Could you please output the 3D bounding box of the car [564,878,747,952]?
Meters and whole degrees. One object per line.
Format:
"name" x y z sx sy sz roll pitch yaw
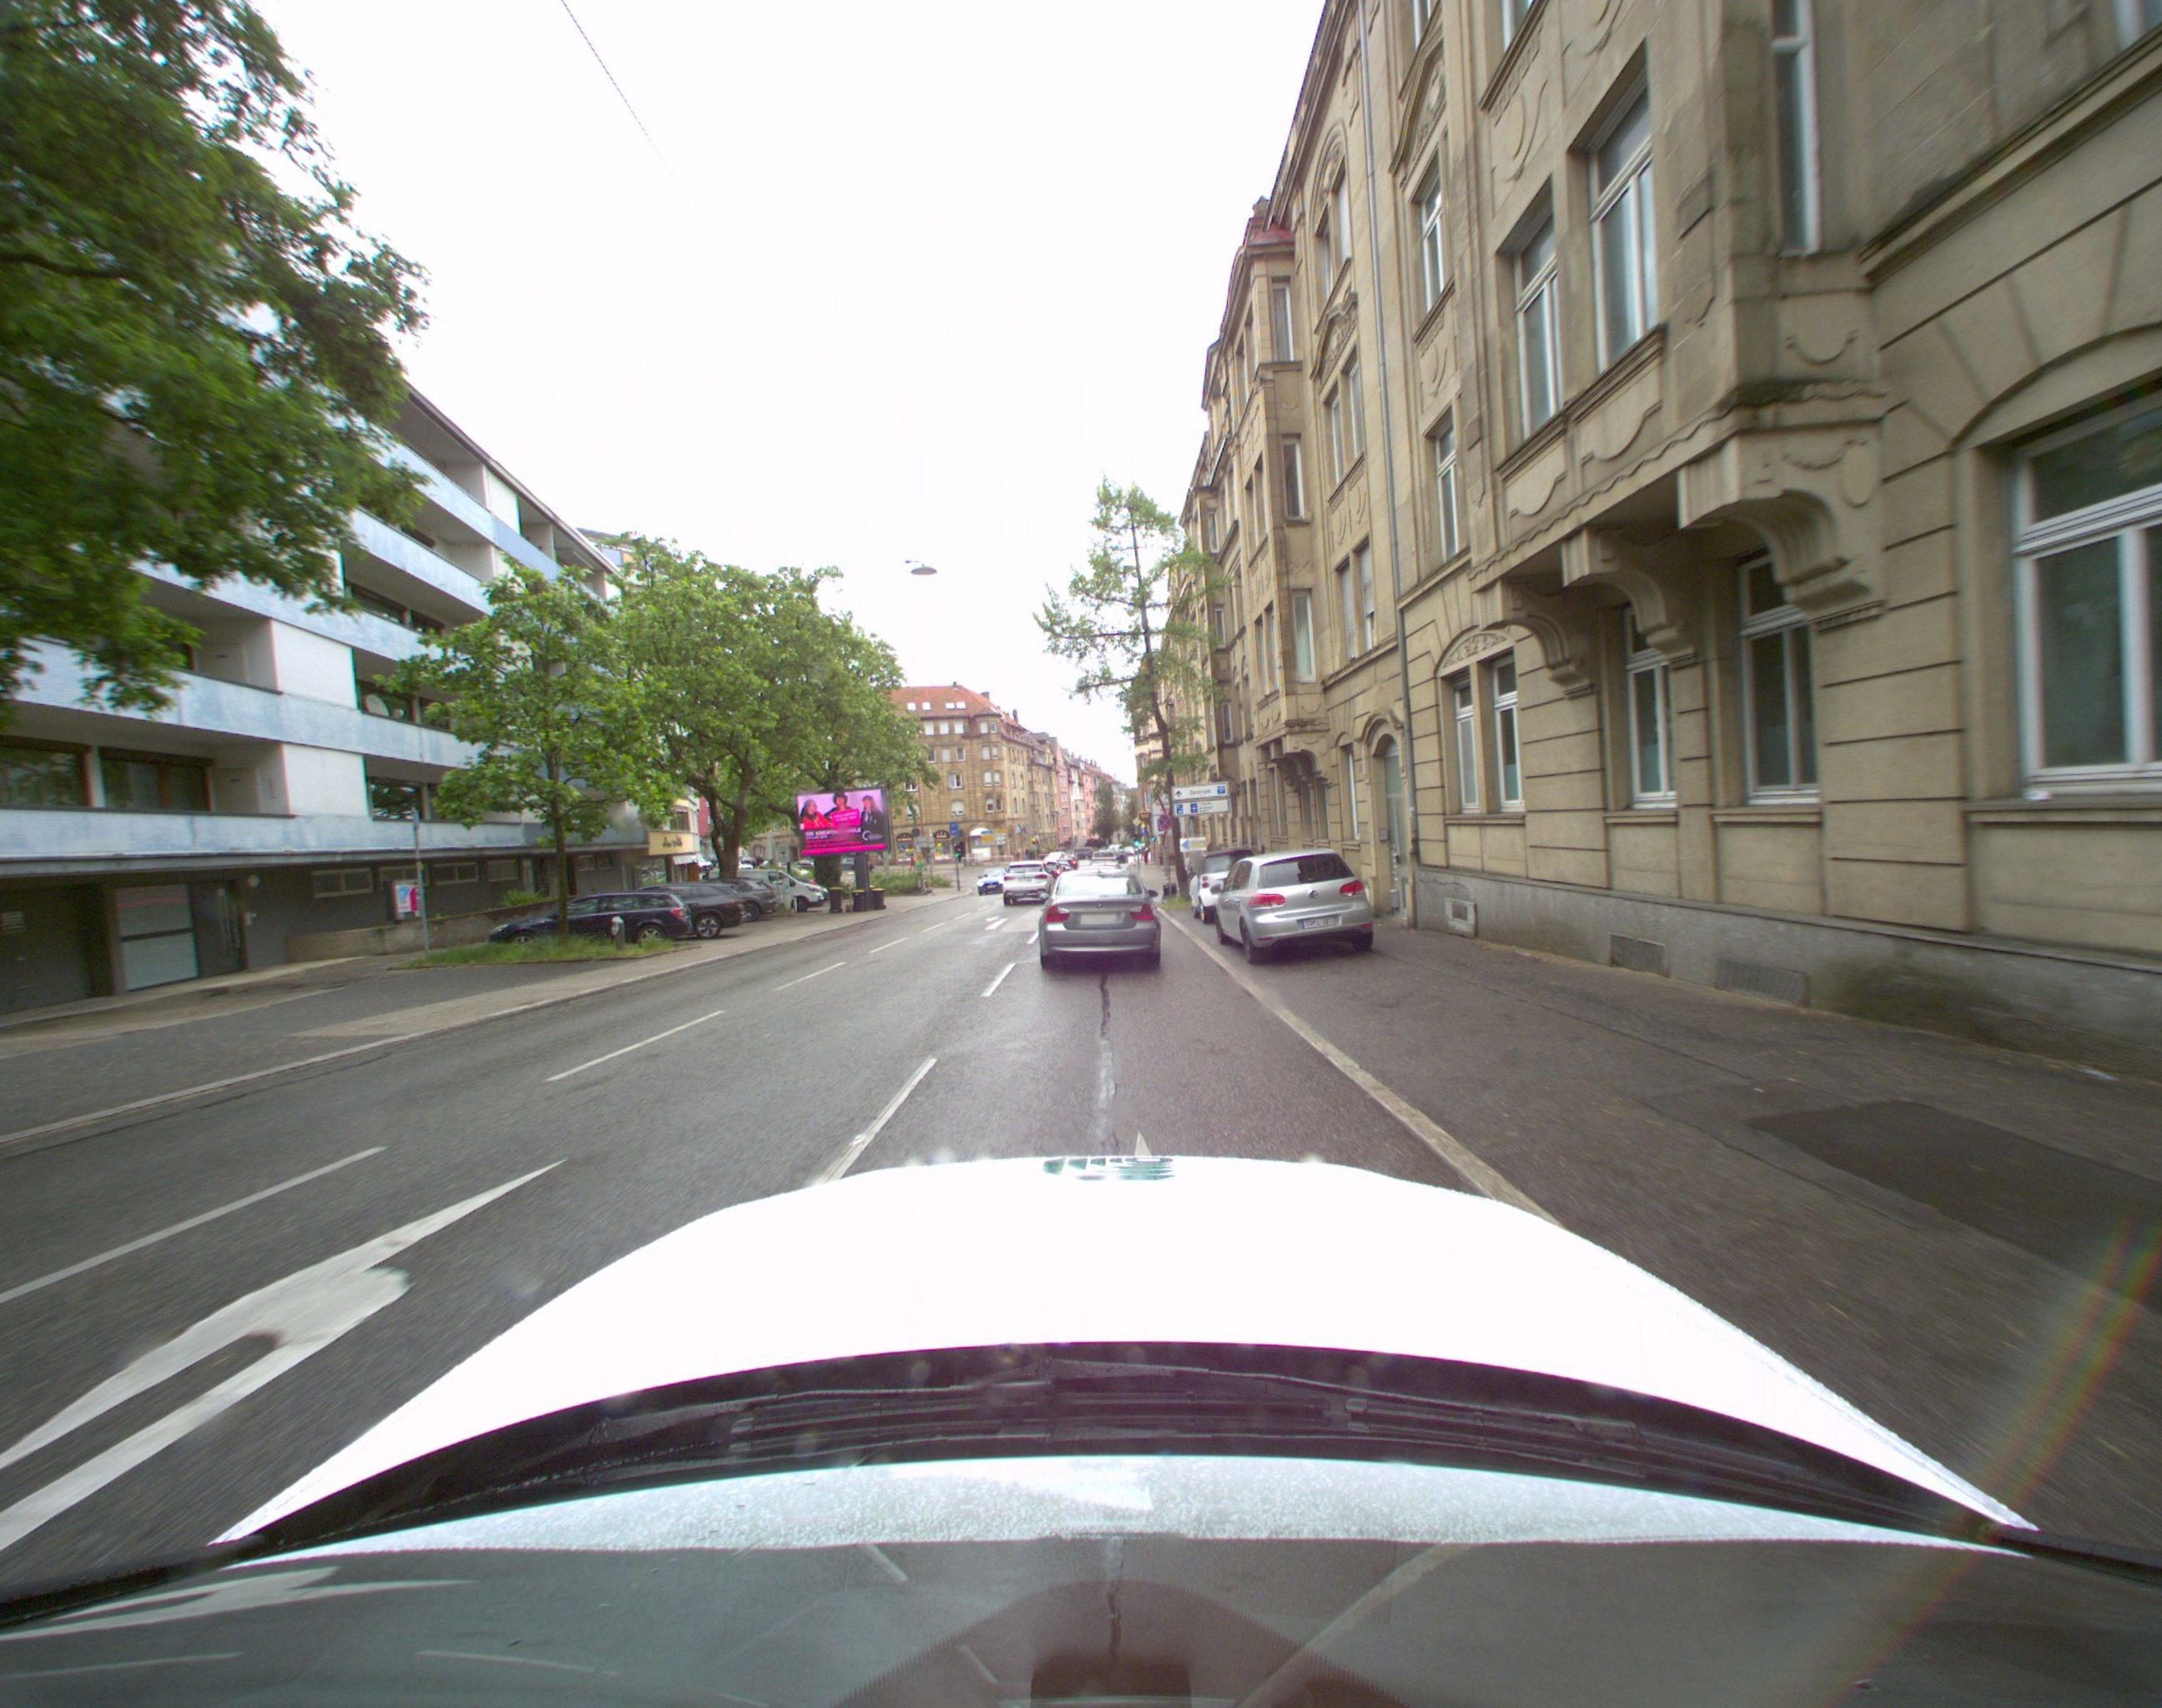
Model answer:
"car" -12.106 1.684 23.522 4.382 1.672 1.842 -4 0 -21

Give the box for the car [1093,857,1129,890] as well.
"car" 1.525 1.006 42.798 1.753 1.567 4.001 -2 0 1

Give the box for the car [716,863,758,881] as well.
"car" -37.921 2.007 89.781 4.195 1.726 2.013 -2 2 31

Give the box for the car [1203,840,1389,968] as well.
"car" 3.093 0.661 12.602 1.753 1.451 4.001 -7 -1 1

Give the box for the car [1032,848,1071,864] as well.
"car" -2.949 0.240 82.097 1.974 1.579 4.025 -1 -1 34

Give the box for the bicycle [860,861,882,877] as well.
"bicycle" -19.533 1.373 75.786 0.665 1.320 2.289 -5 0 24

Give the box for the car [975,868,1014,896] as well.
"car" -5.064 1.613 48.083 1.709 1.450 3.743 -3 0 1

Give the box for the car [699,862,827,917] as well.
"car" -14.046 1.532 36.268 5.076 2.105 1.979 -3 -1 -19

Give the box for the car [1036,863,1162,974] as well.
"car" 0.333 0.872 12.541 1.617 1.383 3.618 -2 0 3

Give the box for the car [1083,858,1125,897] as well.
"car" 0.989 0.894 32.942 1.588 1.464 4.003 -1 0 3

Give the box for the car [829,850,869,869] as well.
"car" -26.656 0.623 93.552 4.237 2.101 2.013 0 1 30

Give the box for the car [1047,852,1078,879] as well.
"car" -1.241 0.771 55.179 1.752 1.708 4.003 -2 0 3

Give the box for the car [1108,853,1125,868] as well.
"car" 3.849 0.699 87.098 1.718 1.552 4.004 -1 -1 4

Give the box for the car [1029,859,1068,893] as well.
"car" -1.760 1.164 45.123 1.752 1.708 4.003 -2 0 3

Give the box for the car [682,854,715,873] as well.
"car" -44.121 1.098 93.923 3.948 2.013 1.587 -2 0 33

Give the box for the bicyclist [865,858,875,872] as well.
"bicyclist" -19.642 0.996 75.819 0.564 1.273 0.693 -1 -1 22

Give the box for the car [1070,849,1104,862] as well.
"car" 0.900 0.216 126.219 5.158 2.014 2.699 0 -1 1

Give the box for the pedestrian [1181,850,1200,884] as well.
"pedestrian" 5.106 0.609 37.919 0.629 1.508 0.693 -7 -1 1

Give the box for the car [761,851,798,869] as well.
"car" -36.807 0.669 99.383 4.237 2.101 2.013 0 1 30

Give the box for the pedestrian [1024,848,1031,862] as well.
"pedestrian" -6.405 0.136 97.449 0.727 1.577 0.530 -3 0 10

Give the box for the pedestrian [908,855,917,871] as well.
"pedestrian" -17.522 0.914 84.669 0.532 1.577 0.723 -4 -1 24

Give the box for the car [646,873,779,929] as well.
"car" -13.888 1.735 30.981 4.370 1.784 1.927 -3 -1 -19

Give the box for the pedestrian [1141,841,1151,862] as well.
"pedestrian" 5.980 -0.234 75.121 0.740 1.910 0.659 -3 0 1

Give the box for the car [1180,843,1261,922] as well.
"car" 3.199 0.623 19.102 1.295 1.543 2.977 -7 -1 1

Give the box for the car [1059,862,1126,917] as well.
"car" 0.416 0.963 23.797 1.752 1.383 4.003 -2 0 3

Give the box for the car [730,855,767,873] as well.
"car" -41.665 1.264 101.940 4.237 2.101 2.013 0 1 30

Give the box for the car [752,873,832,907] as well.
"car" -16.443 2.002 46.362 4.139 1.653 1.756 -3 -1 -22

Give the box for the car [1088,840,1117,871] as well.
"car" 1.539 0.145 58.087 1.986 2.106 4.001 -2 -1 2

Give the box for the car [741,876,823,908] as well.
"car" -16.047 2.007 43.893 3.984 1.450 1.757 -3 -1 -19

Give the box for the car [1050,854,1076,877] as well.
"car" -1.397 0.897 65.375 1.752 1.708 4.003 -2 0 3

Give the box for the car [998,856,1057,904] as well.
"car" -2.051 0.963 32.262 1.861 1.625 4.001 -4 0 1

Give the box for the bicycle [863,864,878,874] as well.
"bicycle" -19.609 1.404 75.888 0.568 0.858 1.529 -1 -1 20

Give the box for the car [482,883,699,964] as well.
"car" -12.329 1.693 20.833 4.373 1.574 1.929 -4 0 -21

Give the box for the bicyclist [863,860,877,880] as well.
"bicyclist" -19.590 1.460 75.698 0.775 1.821 0.775 -5 -1 25

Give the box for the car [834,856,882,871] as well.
"car" -24.482 1.035 89.333 4.614 1.579 2.004 -1 -1 7
